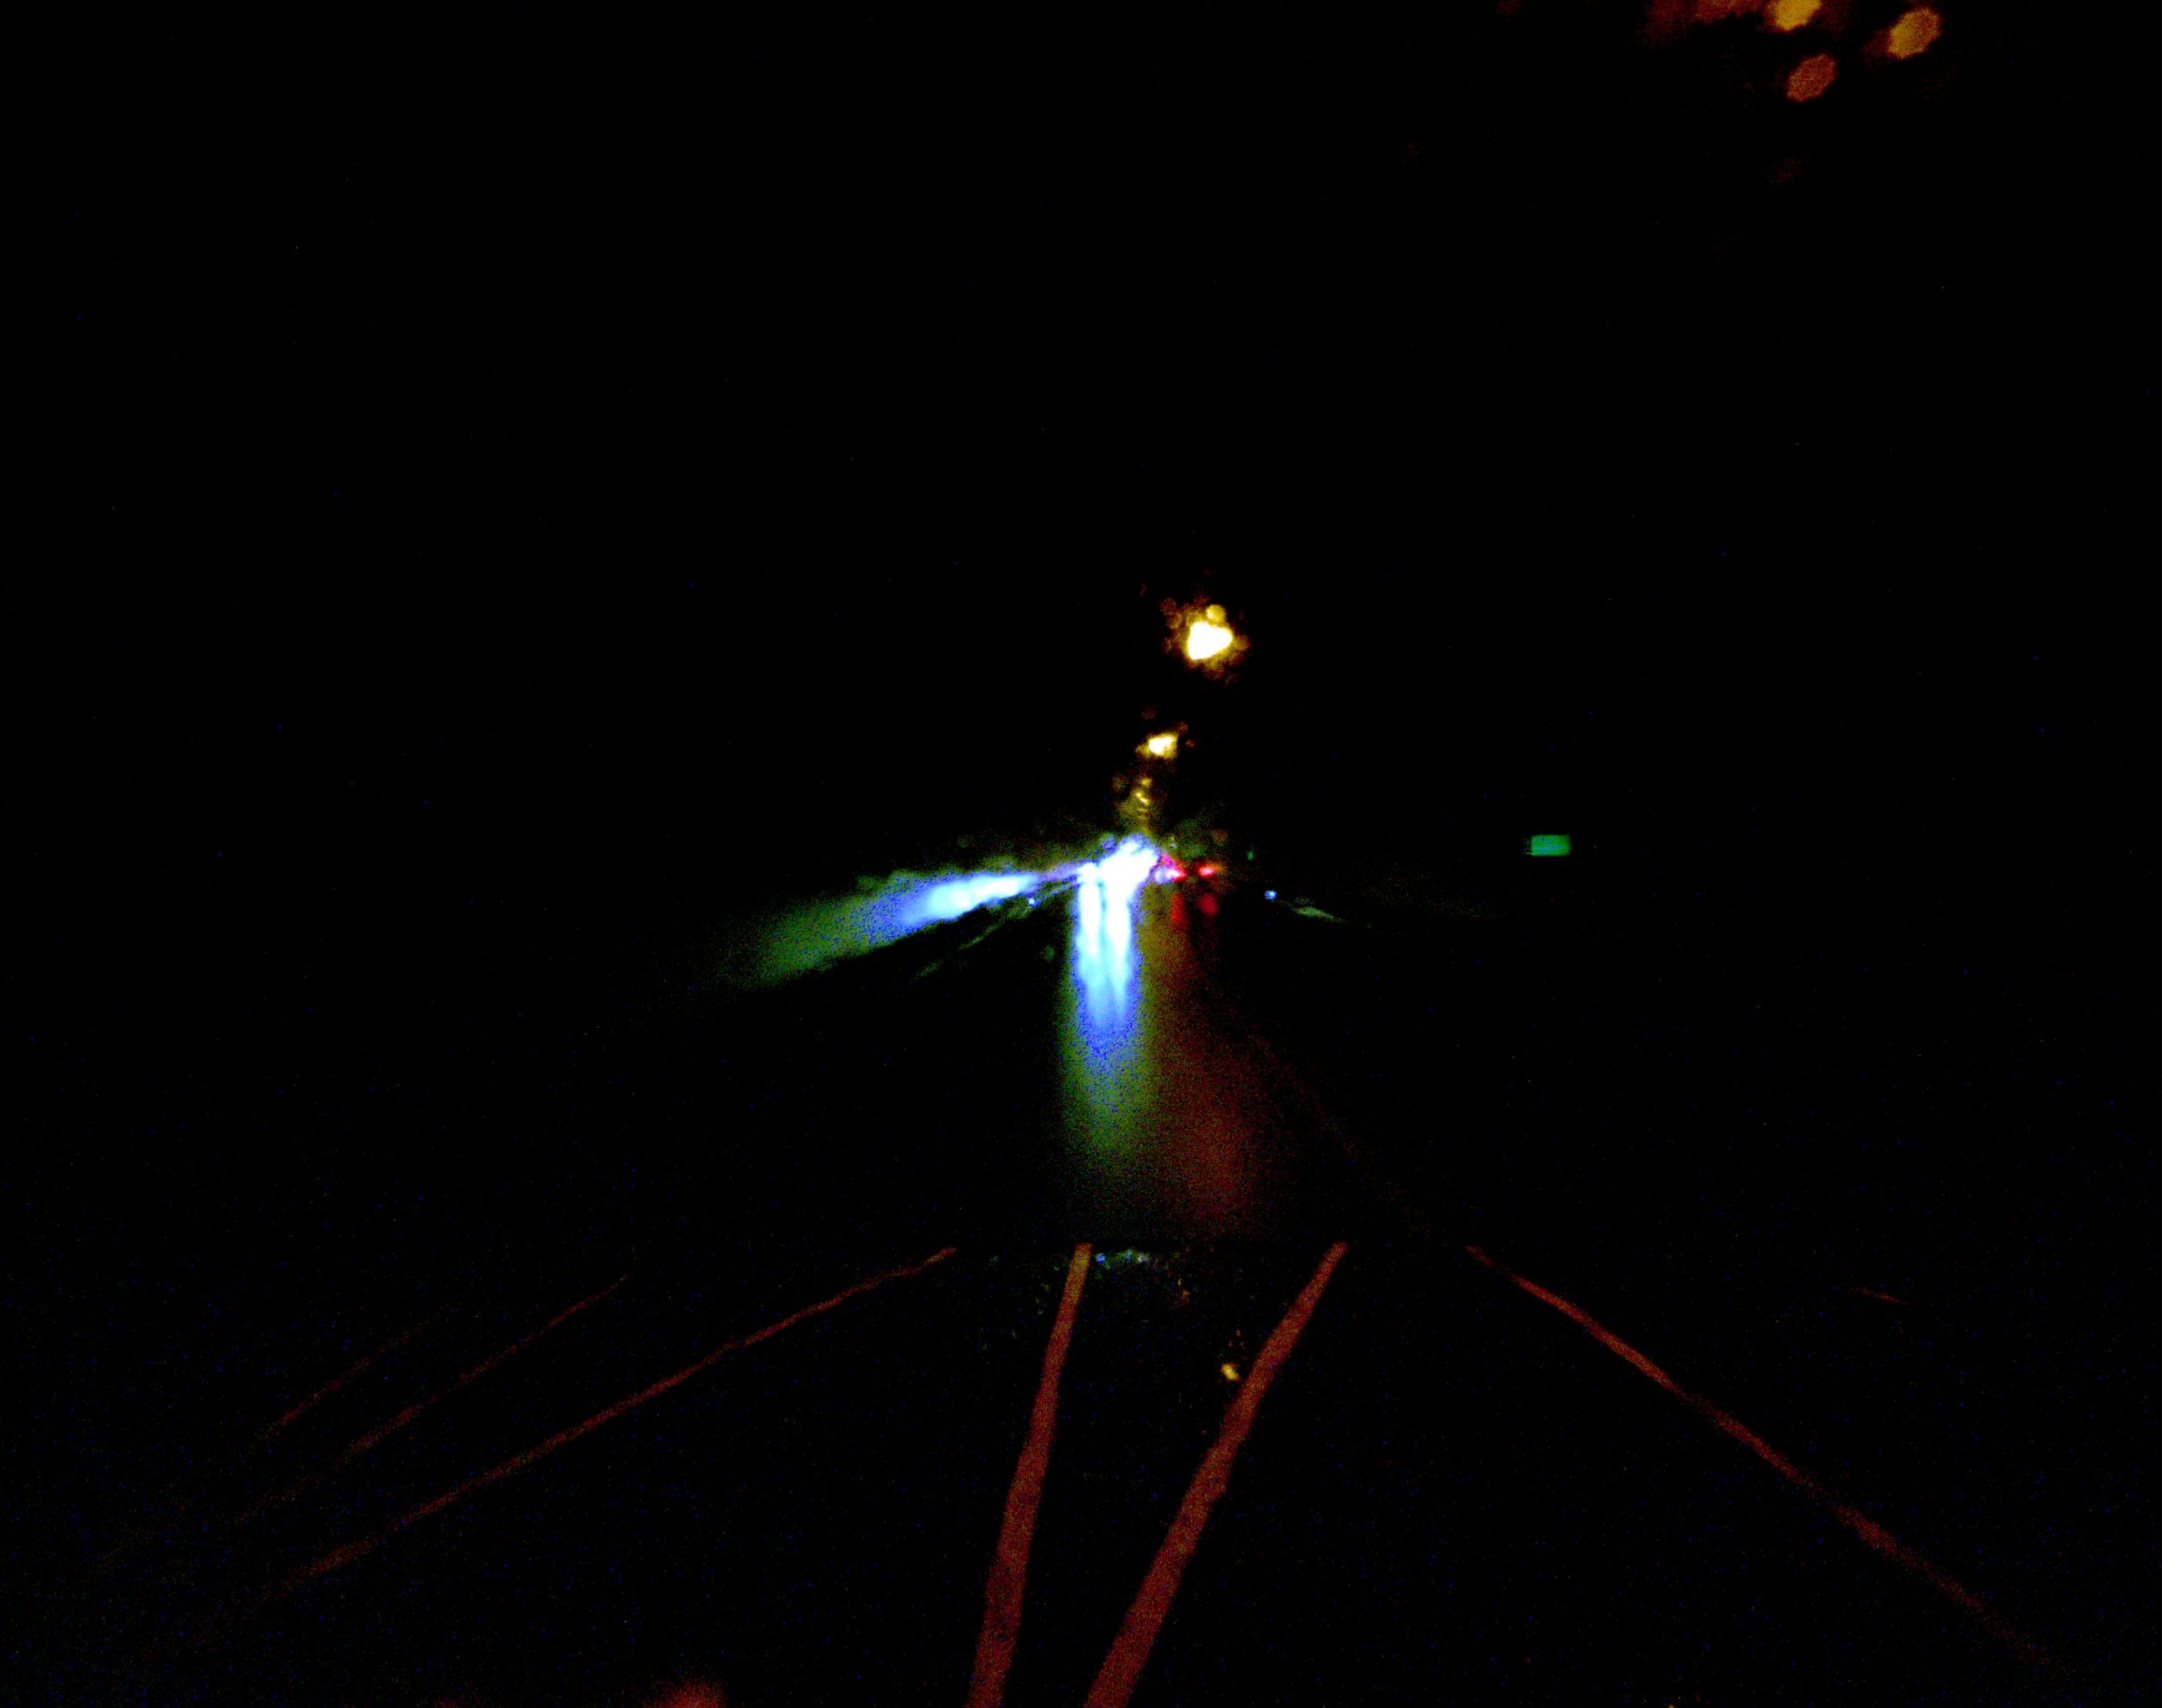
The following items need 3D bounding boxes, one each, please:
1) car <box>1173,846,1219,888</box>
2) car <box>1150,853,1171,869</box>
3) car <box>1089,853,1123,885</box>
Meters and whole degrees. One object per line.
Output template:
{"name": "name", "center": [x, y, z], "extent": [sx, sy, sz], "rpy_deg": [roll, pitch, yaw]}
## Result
{"name": "car", "center": [4.825, 0.526, 32.237], "extent": [1.634, 1.640, 3.776], "rpy_deg": [-1, 0, 5]}
{"name": "car", "center": [7.912, 0.654, 75.625], "extent": [1.660, 1.484, 3.838], "rpy_deg": [-3, 0, 0]}
{"name": "car", "center": [1.440, 0.788, 42.739], "extent": [1.730, 1.595, 4.000], "rpy_deg": [-3, 0, 3]}
